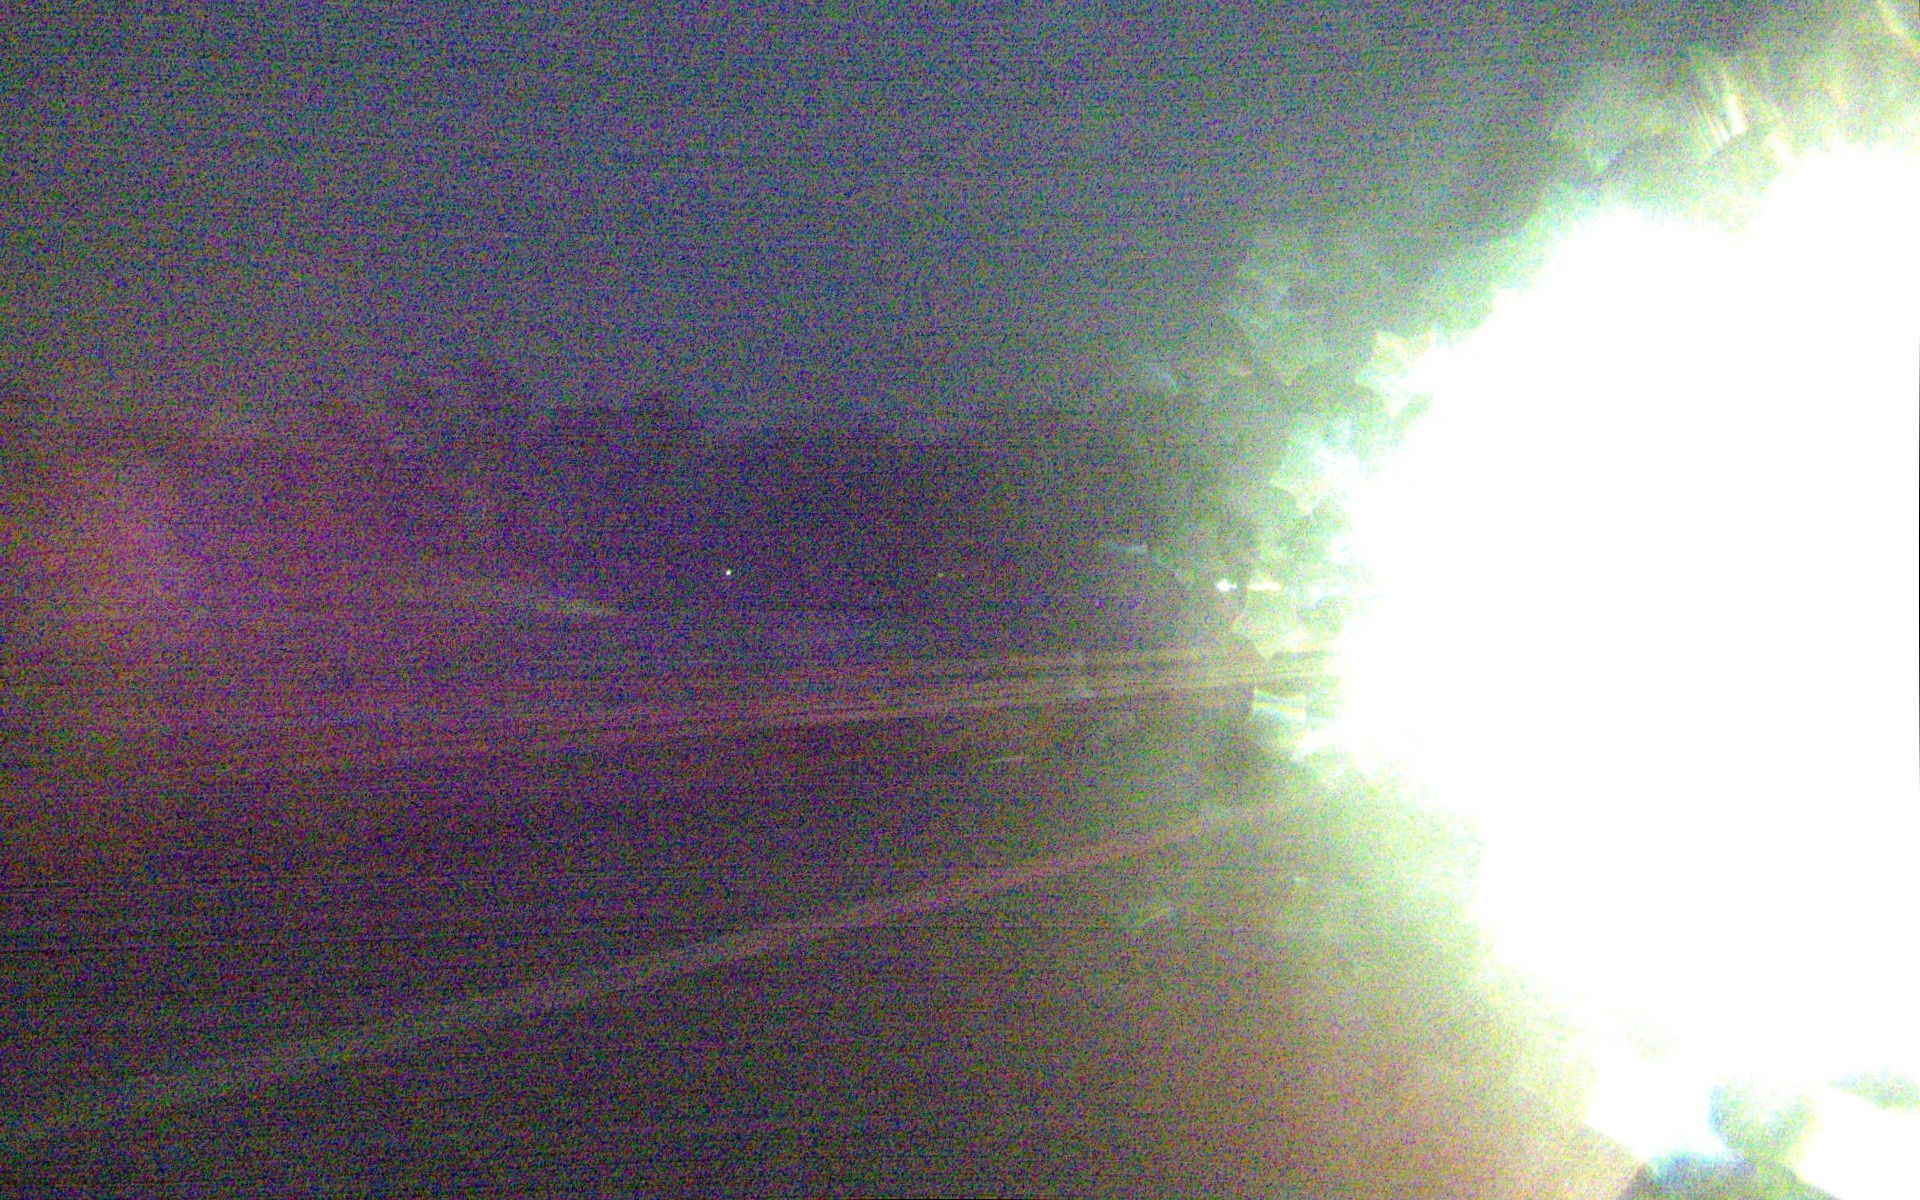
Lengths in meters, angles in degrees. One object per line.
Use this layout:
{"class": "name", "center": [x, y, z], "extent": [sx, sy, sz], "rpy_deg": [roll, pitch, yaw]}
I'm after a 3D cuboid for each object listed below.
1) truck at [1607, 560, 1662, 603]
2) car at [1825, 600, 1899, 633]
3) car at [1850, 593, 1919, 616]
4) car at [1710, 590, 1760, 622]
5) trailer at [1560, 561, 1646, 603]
{"class": "truck", "center": [70.307, -1.896, 105.615], "extent": [2.497, 4.391, 5.553], "rpy_deg": [0, 0, 7]}
{"class": "car", "center": [38.803, 0.671, 43.614], "extent": [1.749, 1.328, 4.037], "rpy_deg": [1, 1, 33]}
{"class": "car", "center": [68.570, 0.354, 75.163], "extent": [1.760, 1.672, 4.043], "rpy_deg": [0, -1, 8]}
{"class": "car", "center": [42.778, 0.339, 55.944], "extent": [1.728, 1.705, 4.073], "rpy_deg": [-1, -1, 32]}
{"class": "trailer", "center": [71.168, -1.981, 112.493], "extent": [2.497, 4.391, 13.682], "rpy_deg": [0, 1, 7]}
